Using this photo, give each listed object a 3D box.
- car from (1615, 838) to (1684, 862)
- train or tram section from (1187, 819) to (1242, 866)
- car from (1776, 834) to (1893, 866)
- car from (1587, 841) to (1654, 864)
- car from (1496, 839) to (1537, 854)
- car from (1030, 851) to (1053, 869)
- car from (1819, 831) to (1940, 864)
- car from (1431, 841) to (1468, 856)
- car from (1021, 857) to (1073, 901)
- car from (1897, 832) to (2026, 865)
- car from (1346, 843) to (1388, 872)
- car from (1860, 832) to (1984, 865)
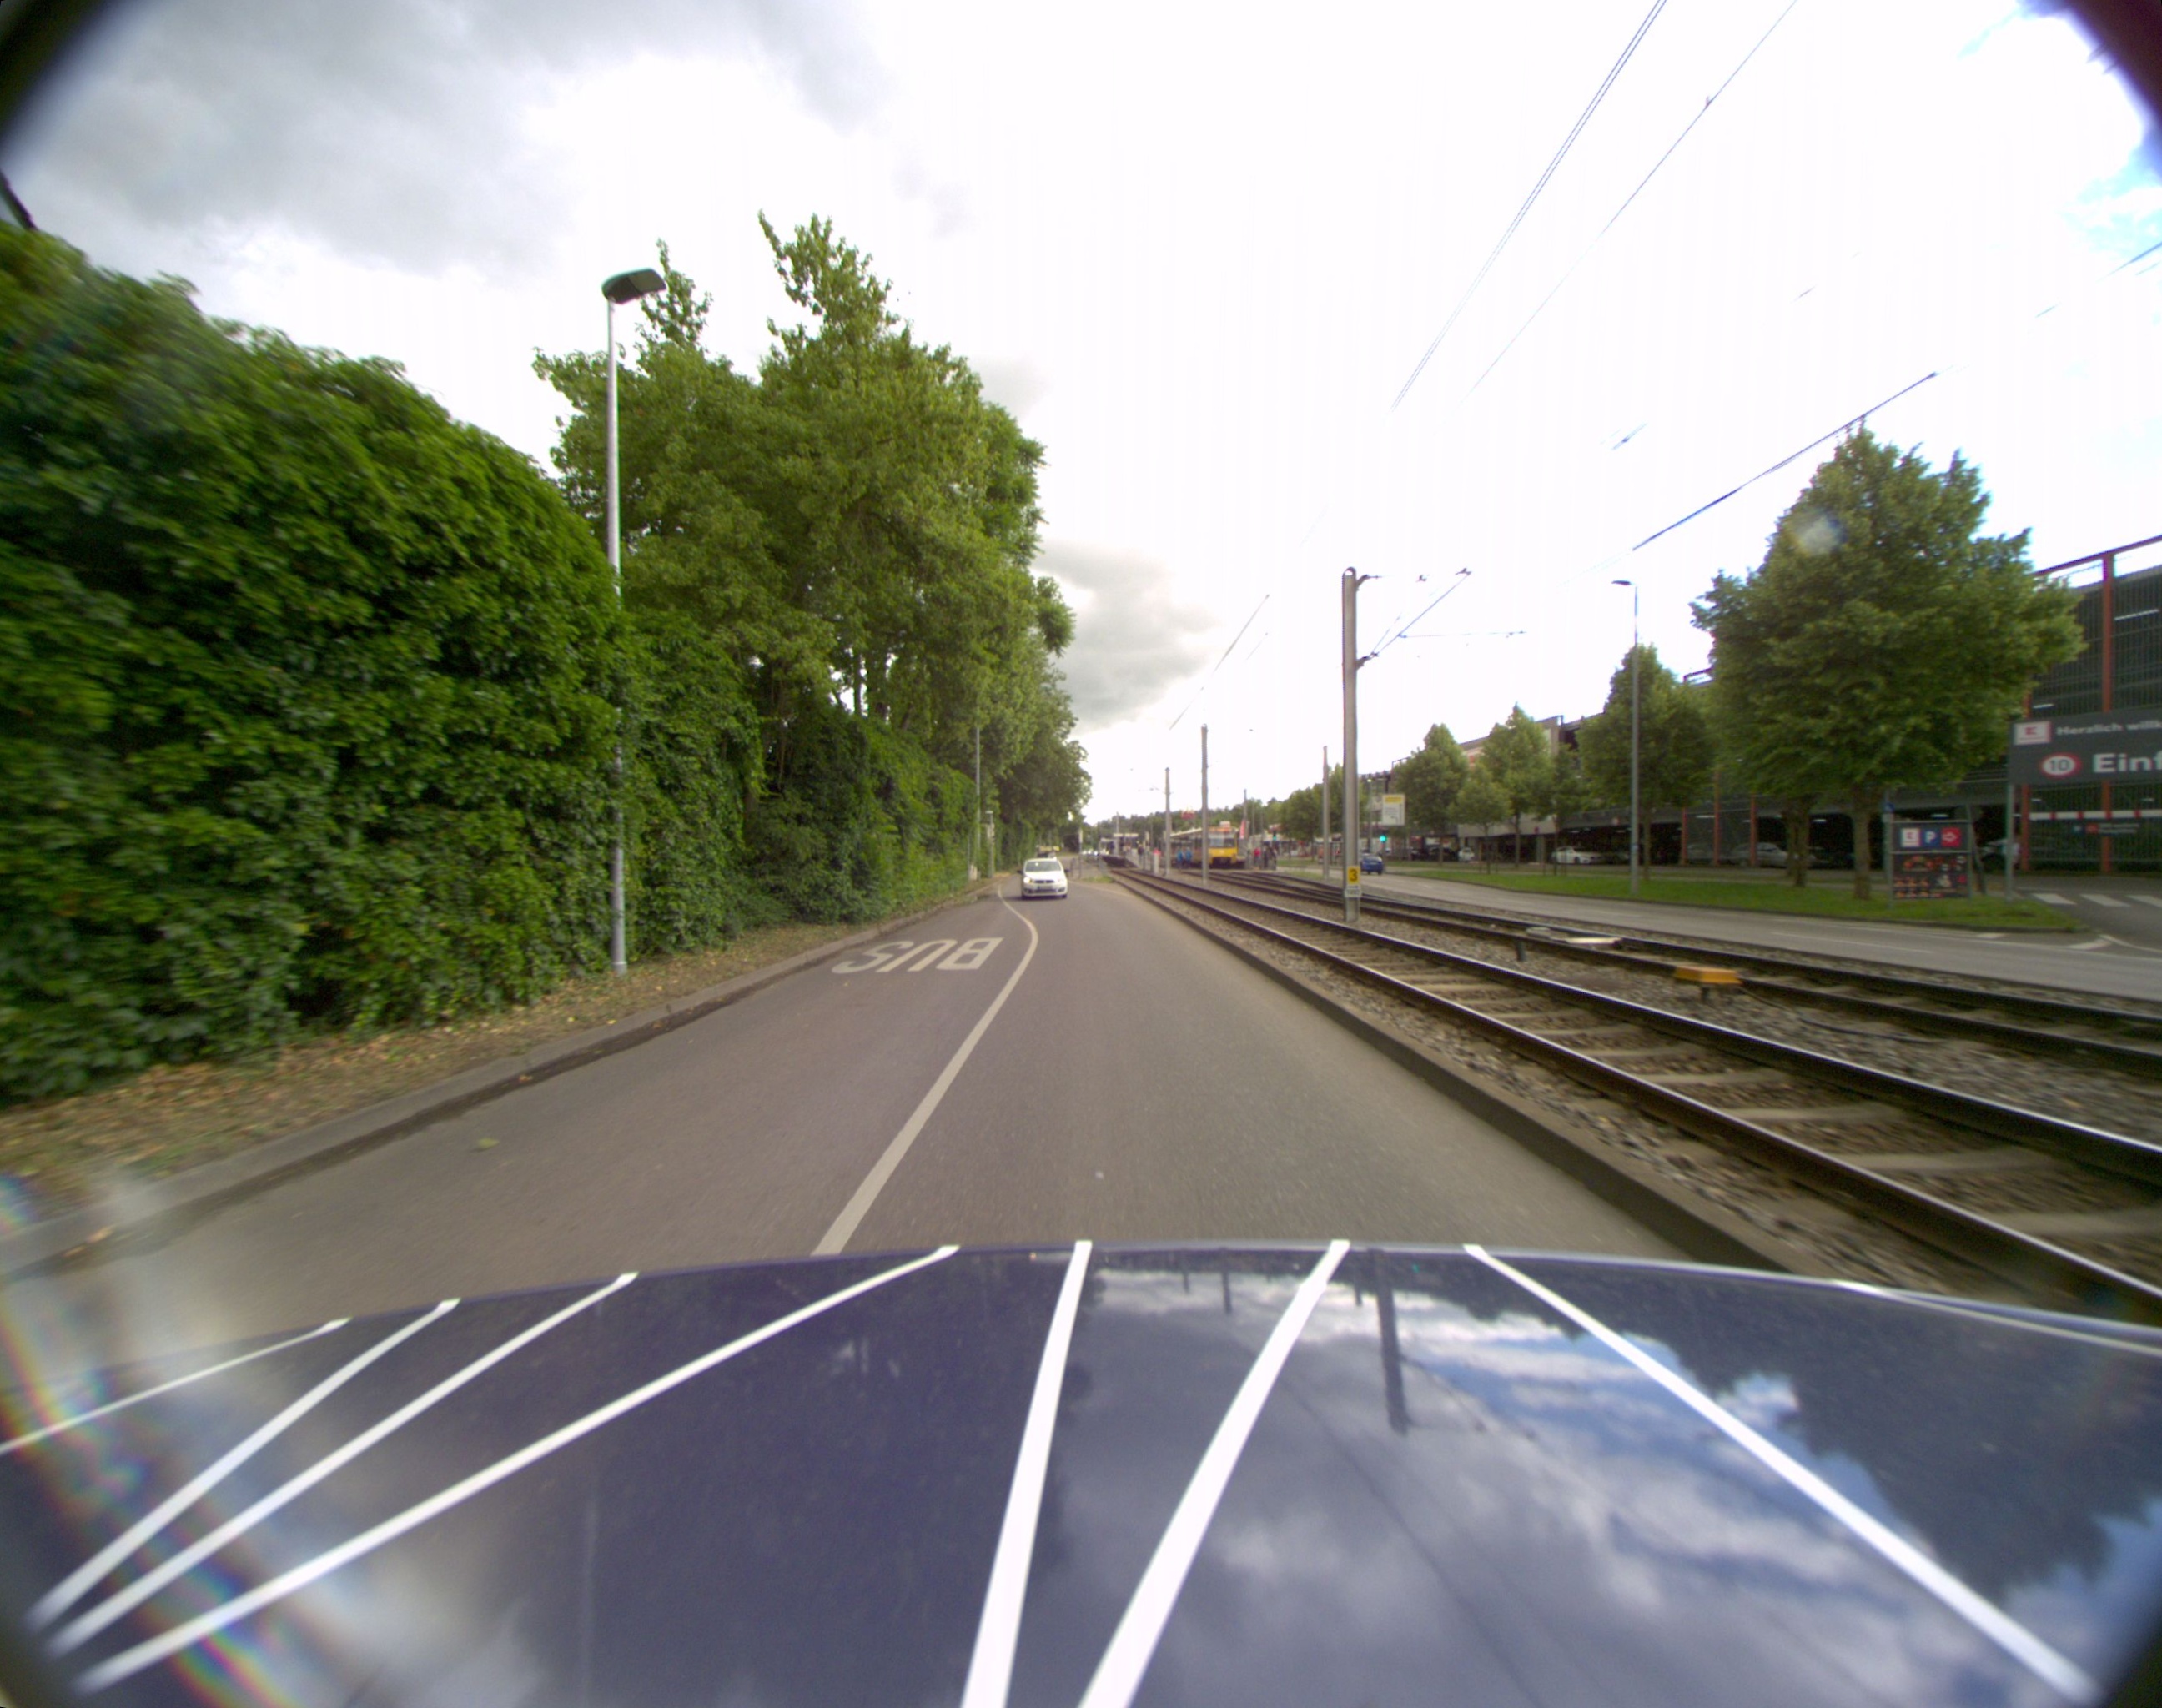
[{"bbox_3d":[43.336,-0.326,58.060,1.998,1.690,4.405,-1,0,0],"label":"car"},{"bbox_3d":[11.872,-0.966,68.911,2.778,3.753,13.787,-1,0,1],"label":"train or tram section"},{"bbox_3d":[40.933,-0.210,41.454,1.998,1.618,4.405,-1,0,0],"label":"car"},{"bbox_3d":[41.125,-0.139,58.054,1.998,1.690,4.405,-1,0,0],"label":"car"},{"bbox_3d":[48.888,-0.835,85.370,1.998,1.618,4.405,-1,0,0],"label":"car"},{"bbox_3d":[-3.784,0.535,72.676,1.714,1.587,4.001,-1,0,3],"label":"car"},{"bbox_3d":[43.540,-0.353,41.582,1.998,1.690,4.405,-1,0,0],"label":"car"},{"bbox_3d":[41.196,-0.615,85.138,1.998,1.618,4.405,-1,0,0],"label":"car"},{"bbox_3d":[-1.265,0.880,28.629,1.765,1.469,4.030,-2,0,-2],"label":"car"},{"bbox_3d":[48.436,-0.320,41.950,1.998,1.690,4.405,-1,0,0],"label":"car"},{"bbox_3d":[20.328,0.221,54.116,1.997,2.002,4.002,-1,1,9],"label":"car"},{"bbox_3d":[46.157,-0.319,41.867,1.998,1.690,4.405,-1,0,0],"label":"car"}]
